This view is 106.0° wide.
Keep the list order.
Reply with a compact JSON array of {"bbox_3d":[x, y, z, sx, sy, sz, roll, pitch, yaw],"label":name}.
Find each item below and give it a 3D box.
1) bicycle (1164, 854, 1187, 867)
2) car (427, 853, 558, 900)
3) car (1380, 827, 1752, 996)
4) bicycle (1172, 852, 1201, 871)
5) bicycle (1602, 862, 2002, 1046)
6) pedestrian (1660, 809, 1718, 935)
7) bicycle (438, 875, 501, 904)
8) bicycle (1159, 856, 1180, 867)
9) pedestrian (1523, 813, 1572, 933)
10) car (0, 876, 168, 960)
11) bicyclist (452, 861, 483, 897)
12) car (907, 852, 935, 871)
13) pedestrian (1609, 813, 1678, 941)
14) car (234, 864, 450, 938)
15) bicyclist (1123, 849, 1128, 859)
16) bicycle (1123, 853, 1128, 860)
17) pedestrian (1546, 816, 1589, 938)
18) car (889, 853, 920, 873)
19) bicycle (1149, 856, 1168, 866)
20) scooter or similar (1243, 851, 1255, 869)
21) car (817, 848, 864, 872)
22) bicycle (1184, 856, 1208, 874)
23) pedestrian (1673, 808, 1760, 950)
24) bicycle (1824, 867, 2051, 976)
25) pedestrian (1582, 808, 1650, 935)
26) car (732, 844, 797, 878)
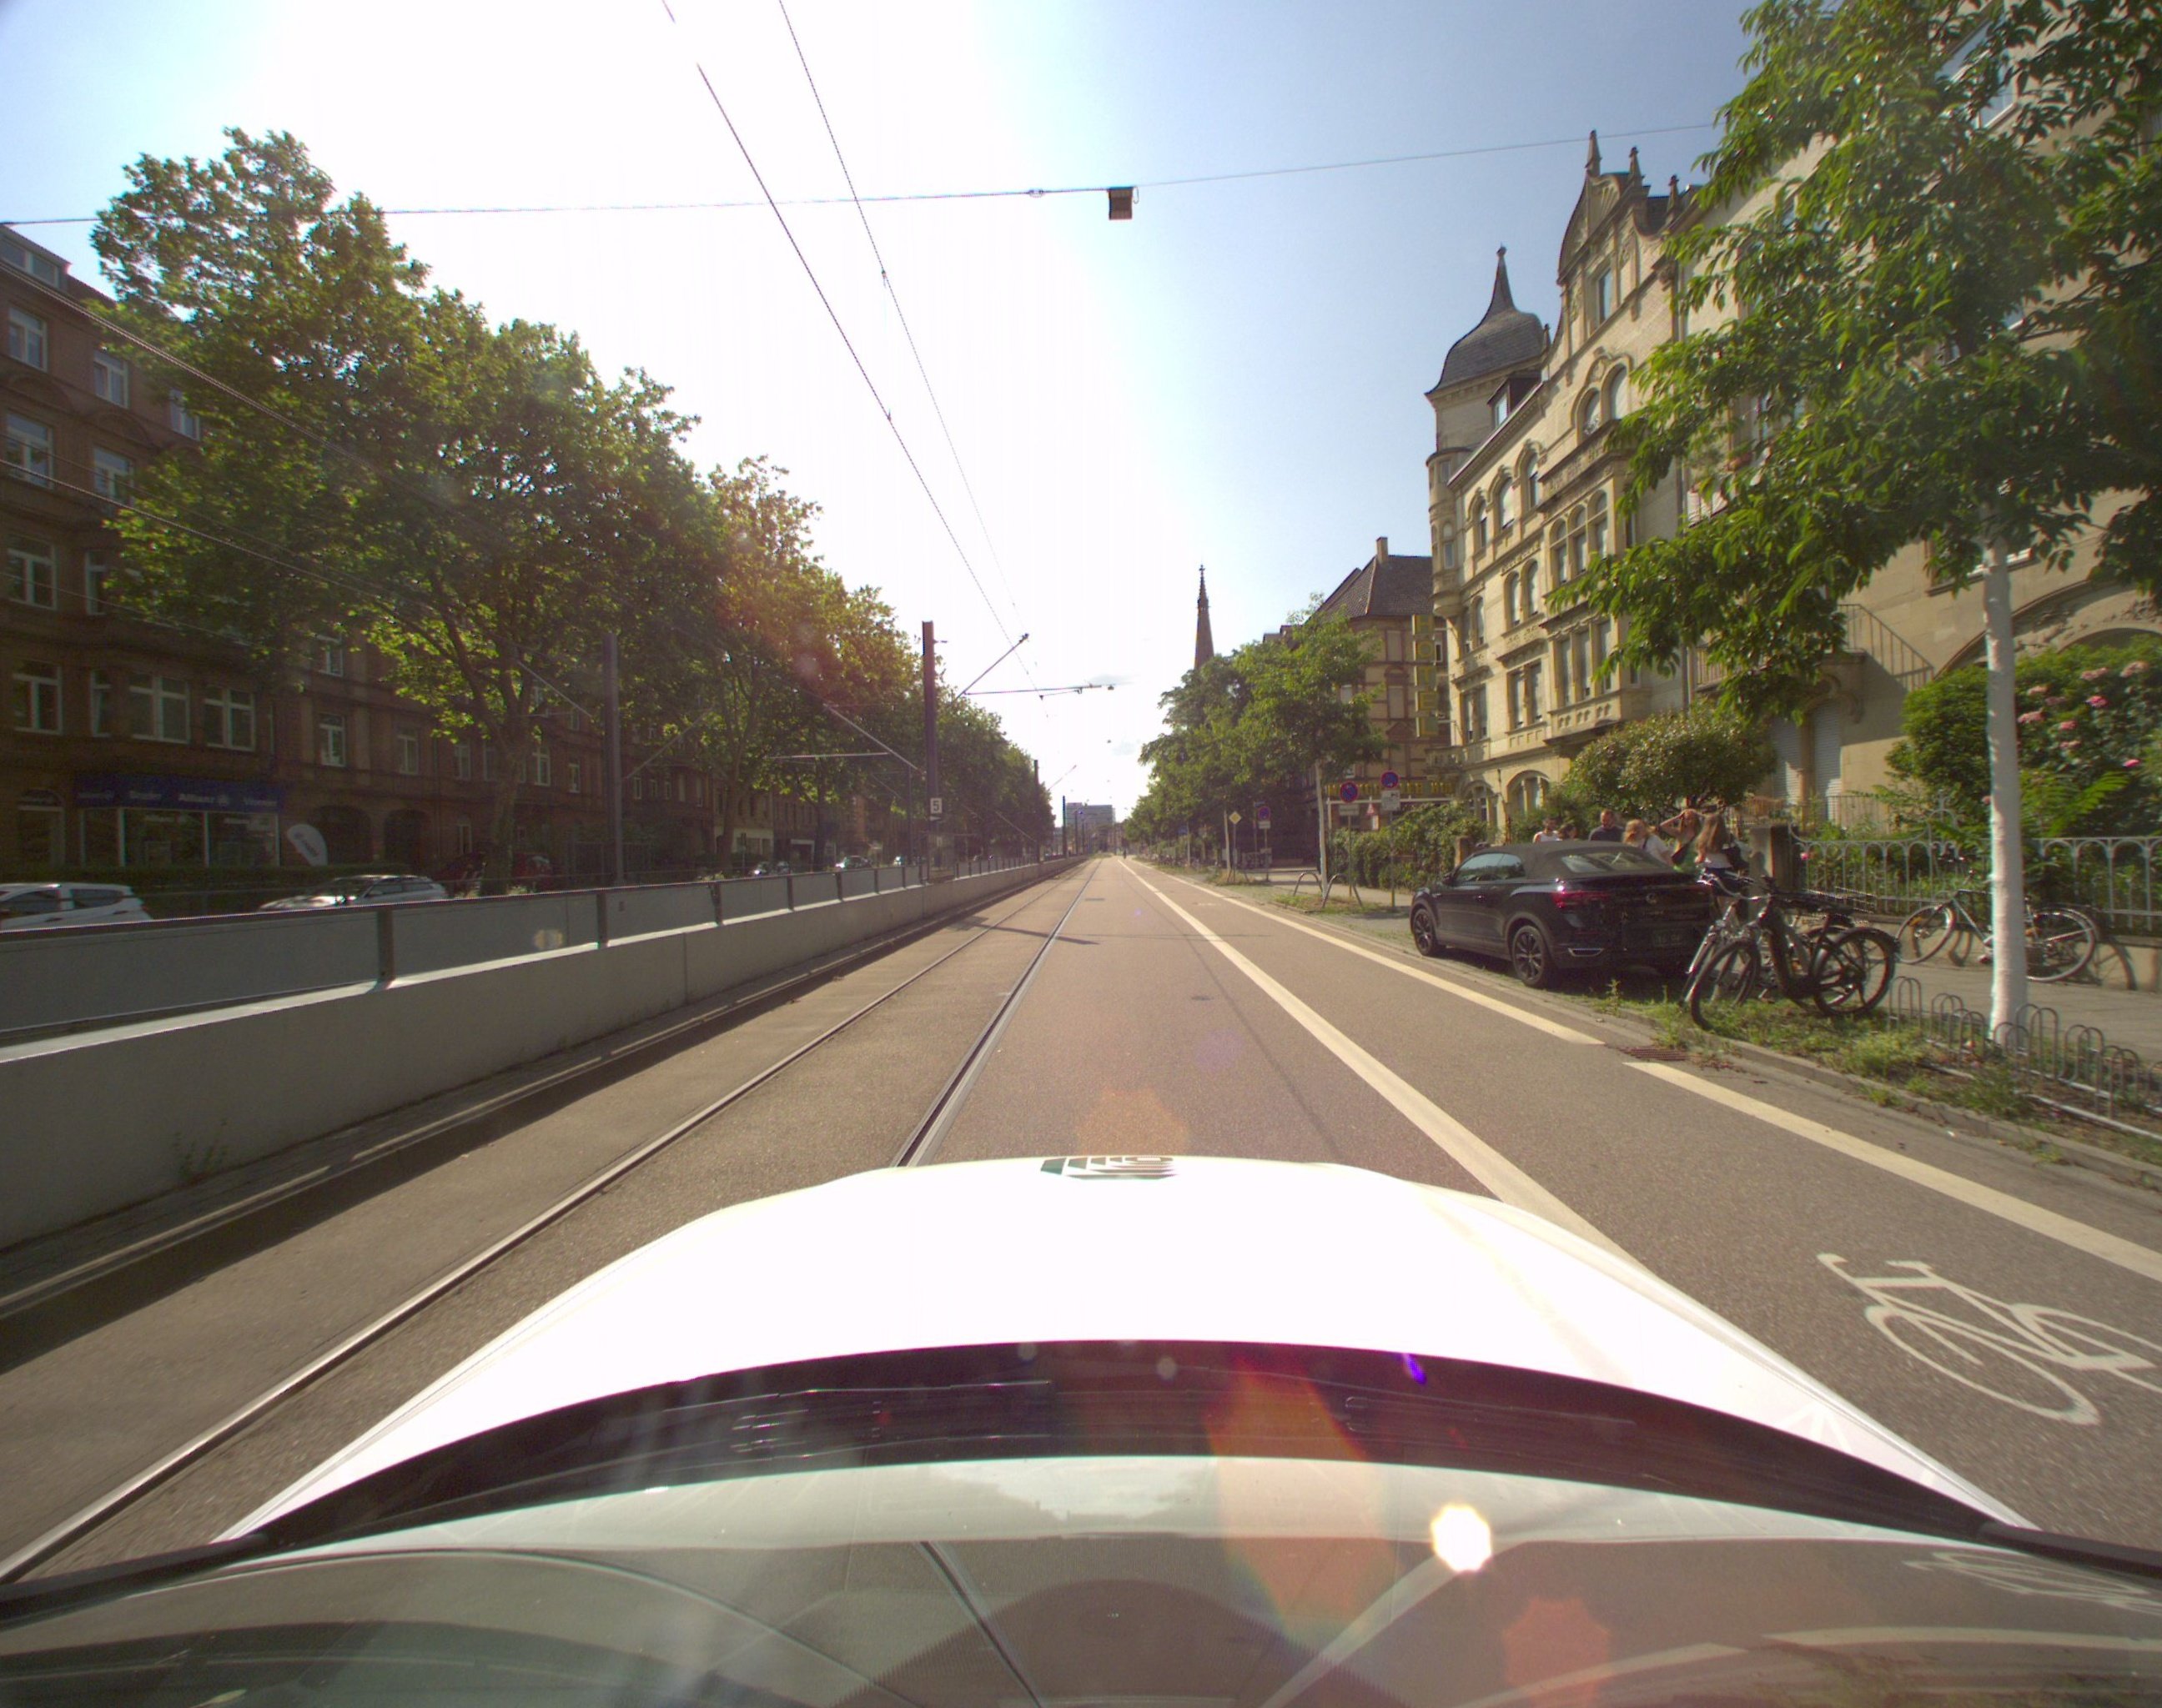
[{"bbox_3d":[7.995,0.545,68.874,1.811,0.902,0.651,-4,0,-2],"label":"bicycle"},{"bbox_3d":[-26.513,0.983,36.823,4.387,1.918,2.000,-1,0,0],"label":"car"},{"bbox_3d":[5.524,0.543,10.124,1.793,1.526,4.486,-3,0,-2],"label":"car"},{"bbox_3d":[7.268,0.528,56.240,1.816,1.145,0.649,-4,0,-10],"label":"bicycle"},{"bbox_3d":[5.815,0.731,6.596,2.948,1.246,0.790,-2,0,-11],"label":"bicycle"},{"bbox_3d":[8.532,0.250,11.437,0.382,1.706,0.431,-4,0,1],"label":"pedestrian"},{"bbox_3d":[-21.816,1.244,29.107,0.533,0.913,2.150,-2,0,2],"label":"bicycle"},{"bbox_3d":[7.992,0.656,73.813,1.811,0.902,0.603,-4,0,-2],"label":"bicycle"},{"bbox_3d":[7.248,0.292,12.663,0.457,1.804,0.319,-4,0,0],"label":"pedestrian"},{"bbox_3d":[-18.667,1.149,14.128,1.490,1.303,3.495,-4,0,4],"label":"car"},{"bbox_3d":[-21.826,0.872,28.985,0.533,1.232,0.724,-2,0,2],"label":"bicyclist"},{"bbox_3d":[-16.351,0.767,83.487,1.832,1.727,4.002,-4,0,2],"label":"car"},{"bbox_3d":[7.789,0.309,11.282,0.499,1.706,0.496,-4,0,0],"label":"pedestrian"},{"bbox_3d":[-18.435,1.096,20.603,1.637,1.482,4.003,-4,0,1],"label":"car"},{"bbox_3d":[7.745,0.015,141.452,0.767,1.730,1.027,-1,0,2],"label":"bicyclist"},{"bbox_3d":[7.761,0.374,141.500,0.796,1.237,2.779,-1,0,3],"label":"bicycle"},{"bbox_3d":[7.012,0.320,11.749,0.316,1.706,0.462,-4,0,16],"label":"pedestrian"},{"bbox_3d":[-17.124,0.846,79.219,1.832,1.727,4.002,-4,0,2],"label":"car"},{"bbox_3d":[8.071,0.725,85.083,1.811,0.902,0.603,-4,0,-2],"label":"bicycle"},{"bbox_3d":[10.765,0.380,52.291,0.459,1.158,1.574,-3,0,3],"label":"scooter or similar"},{"bbox_3d":[-17.968,0.410,61.037,1.985,1.636,4.005,-4,0,4],"label":"car"},{"bbox_3d":[7.193,0.700,51.064,0.652,1.038,1.810,-4,0,-19],"label":"bicycle"},{"bbox_3d":[7.915,0.301,10.156,0.527,1.676,0.574,-4,0,-1],"label":"pedestrian"},{"bbox_3d":[8.732,0.636,8.420,0.426,0.940,1.808,-4,0,2],"label":"bicycle"},{"bbox_3d":[7.887,0.260,12.014,0.667,1.804,0.319,-4,0,0],"label":"pedestrian"},{"bbox_3d":[-17.805,0.362,46.049,1.708,1.691,3.739,-4,1,8],"label":"car"}]
